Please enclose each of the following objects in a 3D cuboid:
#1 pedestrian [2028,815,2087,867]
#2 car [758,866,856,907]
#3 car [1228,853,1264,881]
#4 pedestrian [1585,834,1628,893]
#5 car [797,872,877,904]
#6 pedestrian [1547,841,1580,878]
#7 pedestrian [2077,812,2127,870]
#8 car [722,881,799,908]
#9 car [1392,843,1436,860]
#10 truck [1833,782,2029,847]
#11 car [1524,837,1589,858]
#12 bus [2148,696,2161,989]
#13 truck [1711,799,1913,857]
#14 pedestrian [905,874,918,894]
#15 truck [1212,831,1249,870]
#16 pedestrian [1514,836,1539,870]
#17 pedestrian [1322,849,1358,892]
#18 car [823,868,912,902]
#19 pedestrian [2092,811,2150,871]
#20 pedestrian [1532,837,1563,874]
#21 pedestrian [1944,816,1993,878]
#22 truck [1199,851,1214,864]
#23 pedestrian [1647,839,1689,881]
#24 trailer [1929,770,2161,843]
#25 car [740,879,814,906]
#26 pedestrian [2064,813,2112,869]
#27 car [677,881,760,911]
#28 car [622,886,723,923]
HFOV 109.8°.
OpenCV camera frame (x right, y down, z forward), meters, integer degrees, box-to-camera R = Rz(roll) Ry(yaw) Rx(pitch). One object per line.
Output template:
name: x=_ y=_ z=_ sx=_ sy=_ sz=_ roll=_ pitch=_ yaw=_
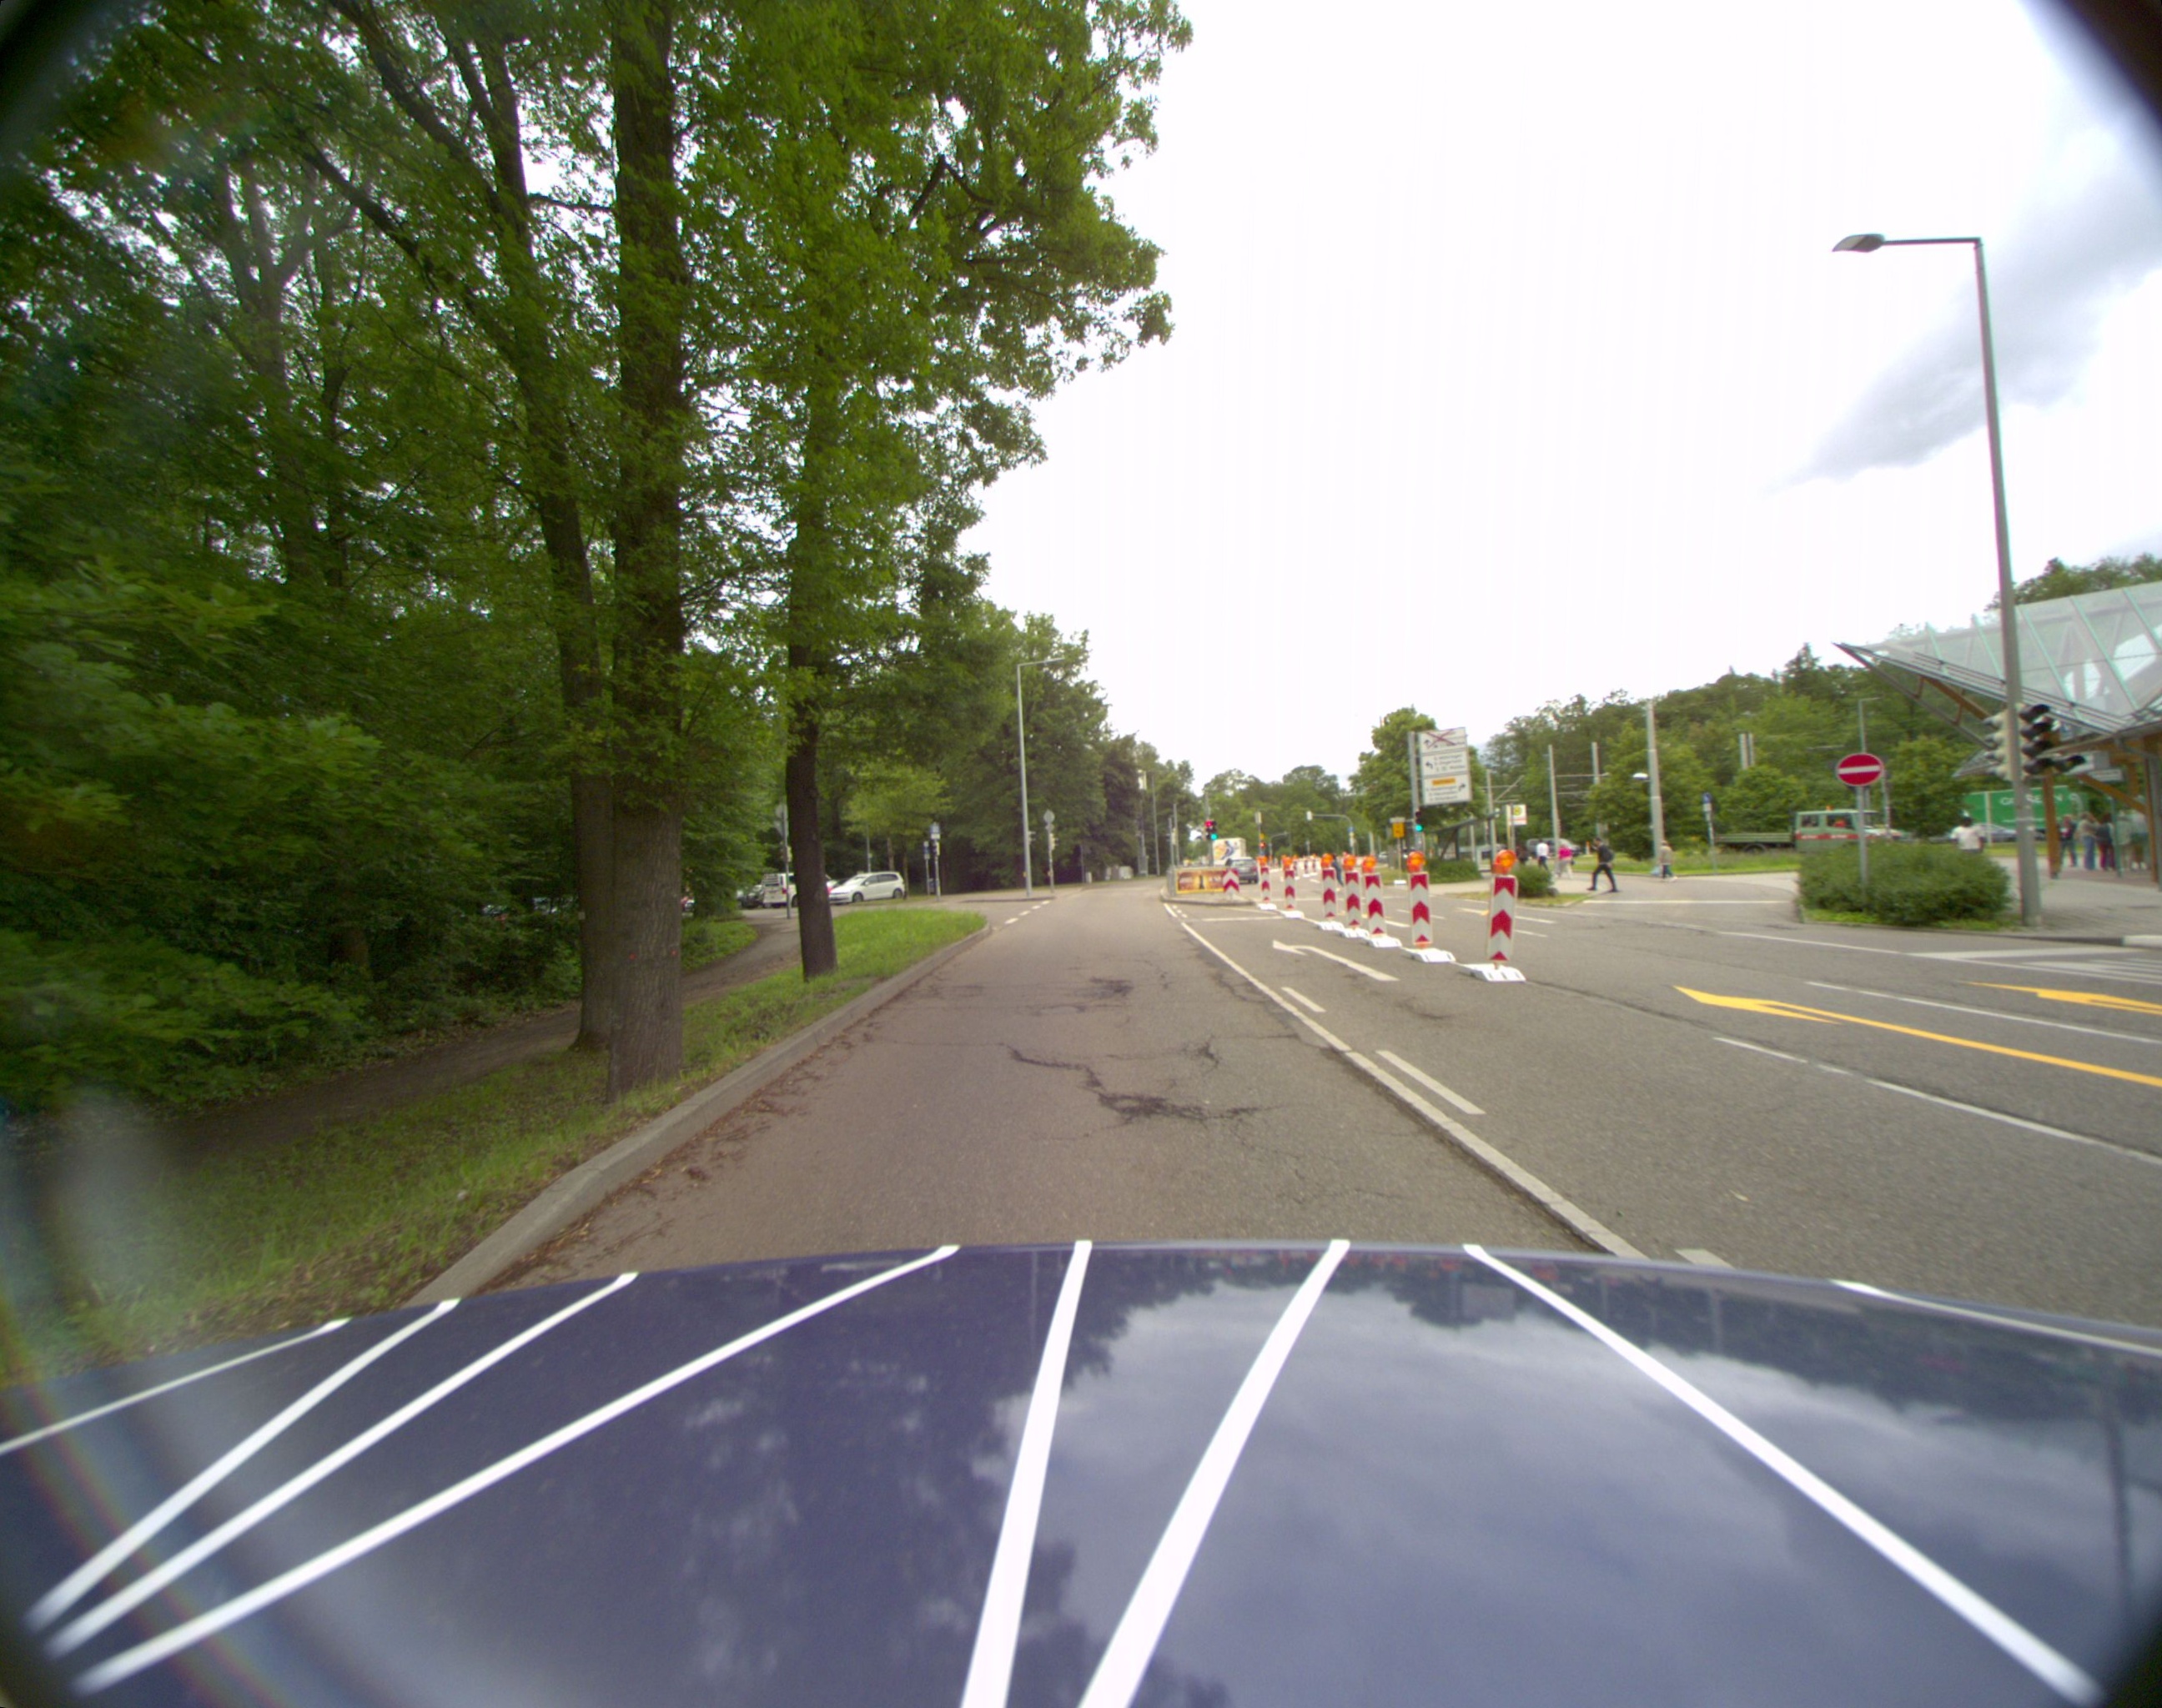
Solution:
pedestrian: x=31.857 y=-0.419 z=24.798 sx=0.784 sy=1.615 sz=0.770 roll=-4 pitch=0 yaw=6
car: x=-16.158 y=1.873 z=45.113 sx=2.058 sy=1.946 sz=5.191 roll=-4 pitch=1 yaw=30
car: x=9.614 y=0.732 z=44.416 sx=1.811 sy=1.500 sz=4.310 roll=-1 pitch=1 yaw=9
pedestrian: x=16.779 y=0.293 z=24.259 sx=0.992 sy=1.798 sz=0.768 roll=-4 pitch=-1 yaw=39
car: x=-13.956 y=1.924 z=43.663 sx=1.890 sy=1.542 sz=4.007 roll=-5 pitch=-1 yaw=33
pedestrian: x=20.838 y=0.229 z=32.827 sx=0.791 sy=1.542 sz=0.775 roll=-4 pitch=0 yaw=0
pedestrian: x=29.469 y=-0.374 z=21.944 sx=0.672 sy=1.615 sz=0.585 roll=-4 pitch=-1 yaw=40
car: x=-20.188 y=2.544 z=47.978 sx=1.815 sy=1.317 sz=4.136 roll=-4 pitch=-1 yaw=30
car: x=42.724 y=-0.338 z=97.676 sx=2.003 sy=1.805 sz=4.824 roll=-4 pitch=-1 yaw=-31
truck: x=62.765 y=-2.795 z=56.493 sx=3.791 sy=3.858 sz=8.760 roll=-4 pitch=-1 yaw=-19
car: x=46.251 y=-0.611 z=74.016 sx=1.961 sy=1.578 sz=4.899 roll=-4 pitch=-1 yaw=-35
bus: x=12.982 y=-0.194 z=3.265 sx=2.906 sy=3.108 sz=9.758 roll=-2 pitch=0 yaw=-1
truck: x=34.258 y=-1.147 z=35.967 sx=2.609 sy=2.157 sz=6.294 roll=-4 pitch=-1 yaw=-19
pedestrian: x=-14.745 y=2.632 z=66.189 sx=0.833 sy=1.641 sz=1.035 roll=-4 pitch=-1 yaw=-4
truck: x=13.070 y=-0.309 z=65.949 sx=2.632 sy=3.219 sz=6.213 roll=-1 pitch=0 yaw=16
pedestrian: x=21.041 y=-0.058 z=35.927 sx=0.775 sy=1.537 sz=0.629 roll=-4 pitch=1 yaw=12
pedestrian: x=10.329 y=0.656 z=30.345 sx=1.093 sy=1.666 sz=0.911 roll=-2 pitch=0 yaw=2
car: x=-11.832 y=1.722 z=42.326 sx=1.995 sy=1.542 sz=4.429 roll=-5 pitch=-1 yaw=33
pedestrian: x=29.225 y=-0.360 z=21.353 sx=0.673 sy=1.615 sz=0.584 roll=-4 pitch=0 yaw=16
pedestrian: x=21.279 y=0.076 z=34.693 sx=0.686 sy=1.655 sz=0.870 roll=-4 pitch=-1 yaw=-12
pedestrian: x=23.438 y=-0.186 z=20.081 sx=0.674 sy=1.587 sz=0.674 roll=-4 pitch=-1 yaw=41
truck: x=32.722 y=0.785 z=198.279 sx=2.743 sy=3.192 sz=6.682 roll=-4 pitch=-1 yaw=17
pedestrian: x=22.067 y=0.243 z=28.566 sx=0.767 sy=1.515 sz=0.875 roll=-4 pitch=-1 yaw=-2
trailer: x=65.076 y=-3.070 z=49.843 sx=3.791 sy=3.858 sz=11.853 roll=-4 pitch=-1 yaw=-19
car: x=-18.481 y=2.351 z=46.297 sx=1.717 sy=1.320 sz=3.942 roll=-4 pitch=-1 yaw=27
pedestrian: x=29.835 y=-0.380 z=22.530 sx=0.672 sy=1.615 sz=0.585 roll=-4 pitch=-1 yaw=40
car: x=-22.995 y=2.646 z=48.387 sx=1.839 sy=1.548 sz=4.540 roll=-4 pitch=-1 yaw=27
car: x=-19.204 y=2.347 z=35.901 sx=1.817 sy=1.411 sz=3.855 roll=-4 pitch=-1 yaw=22
